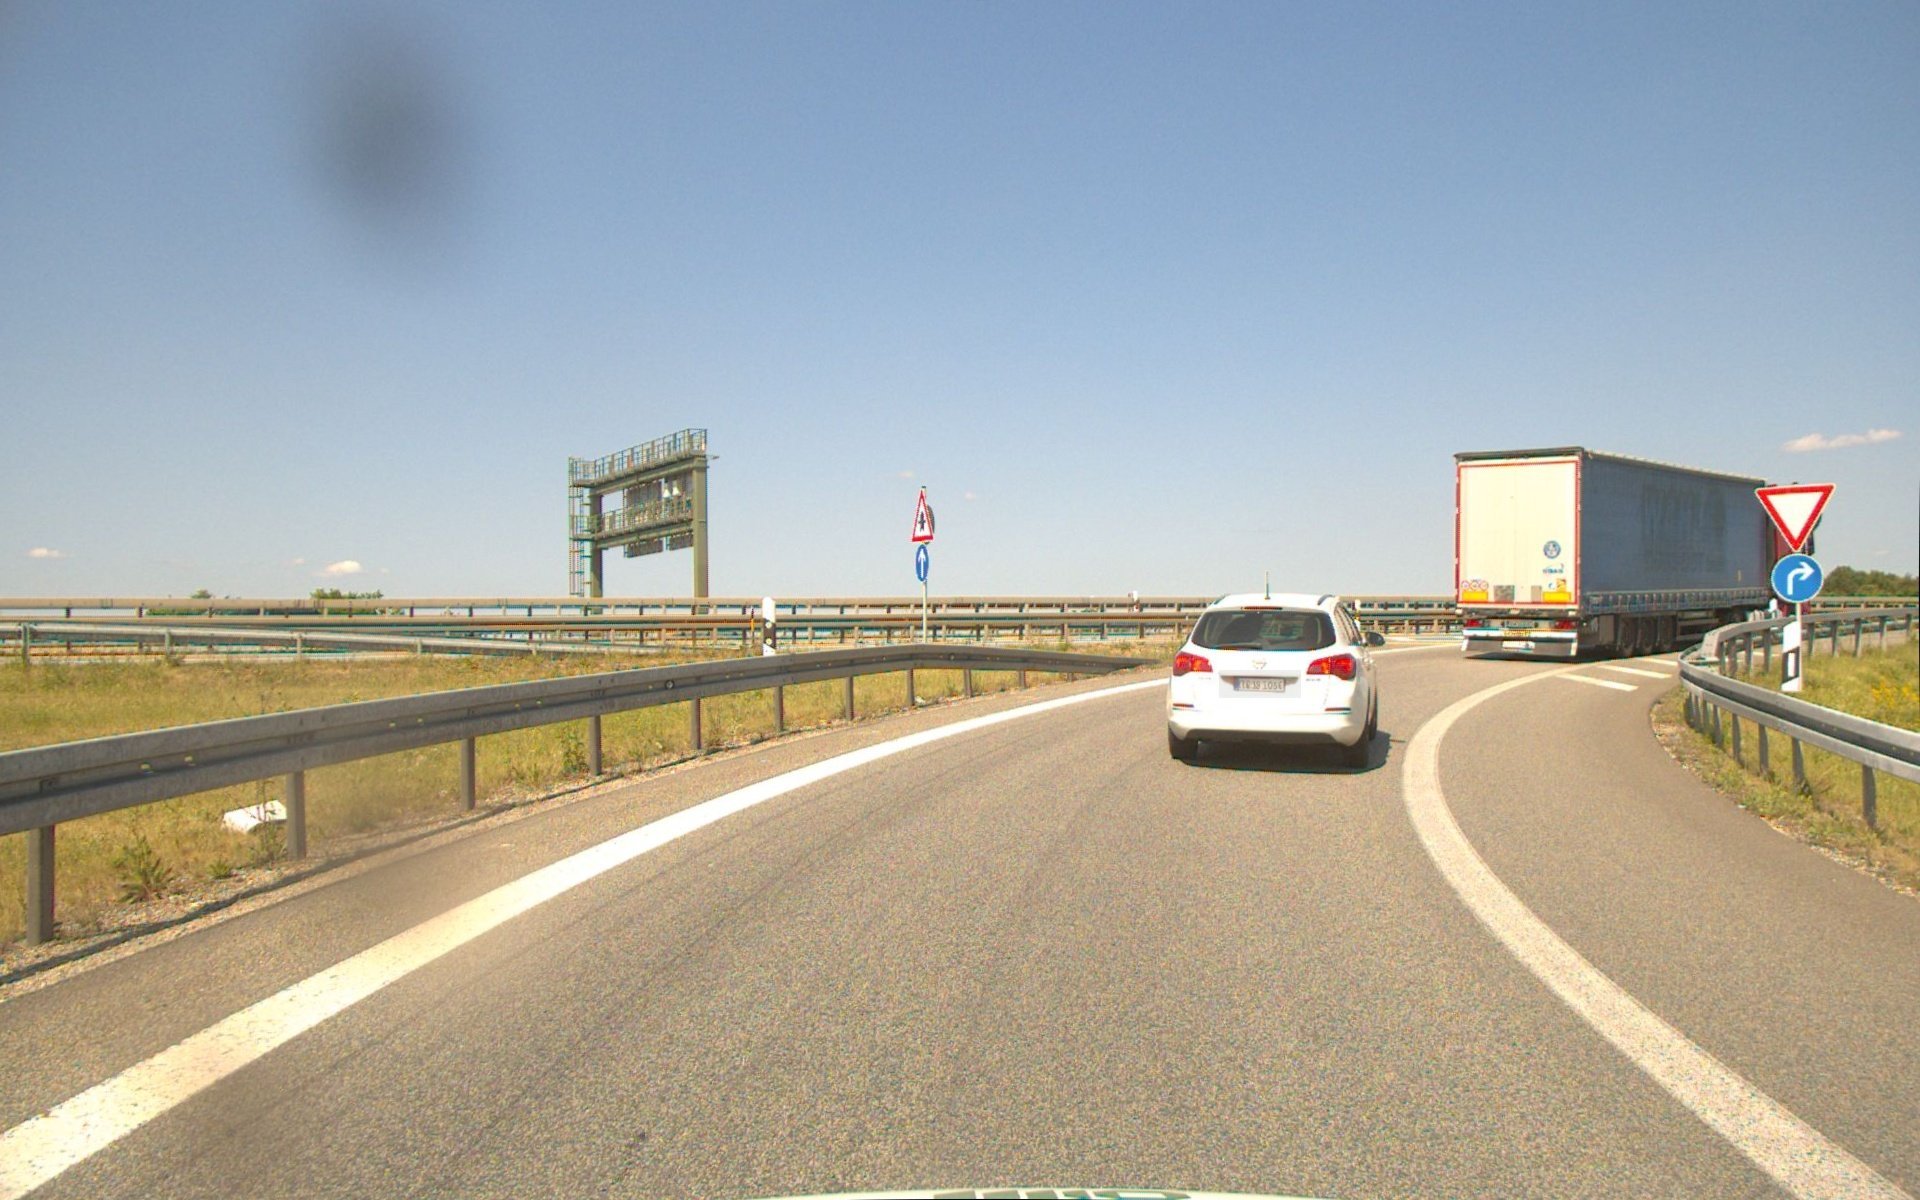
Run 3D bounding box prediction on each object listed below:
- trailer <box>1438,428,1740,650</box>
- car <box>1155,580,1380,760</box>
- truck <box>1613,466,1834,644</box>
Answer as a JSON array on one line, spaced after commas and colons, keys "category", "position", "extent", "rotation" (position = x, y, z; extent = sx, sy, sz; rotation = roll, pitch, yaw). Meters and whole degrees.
[{"category": "trailer", "position": [14.248, -1.059, 36.640], "extent": [2.867, 4.218, 11.200], "rotation": [0, -1, 39]}, {"category": "car", "position": [3.071, 0.589, 15.819], "extent": [1.815, 1.468, 4.375], "rotation": [0, 0, 15]}, {"category": "truck", "position": [19.872, -1.019, 42.848], "extent": [6.870, 4.218, 2.876], "rotation": [2, -1, -43]}]
